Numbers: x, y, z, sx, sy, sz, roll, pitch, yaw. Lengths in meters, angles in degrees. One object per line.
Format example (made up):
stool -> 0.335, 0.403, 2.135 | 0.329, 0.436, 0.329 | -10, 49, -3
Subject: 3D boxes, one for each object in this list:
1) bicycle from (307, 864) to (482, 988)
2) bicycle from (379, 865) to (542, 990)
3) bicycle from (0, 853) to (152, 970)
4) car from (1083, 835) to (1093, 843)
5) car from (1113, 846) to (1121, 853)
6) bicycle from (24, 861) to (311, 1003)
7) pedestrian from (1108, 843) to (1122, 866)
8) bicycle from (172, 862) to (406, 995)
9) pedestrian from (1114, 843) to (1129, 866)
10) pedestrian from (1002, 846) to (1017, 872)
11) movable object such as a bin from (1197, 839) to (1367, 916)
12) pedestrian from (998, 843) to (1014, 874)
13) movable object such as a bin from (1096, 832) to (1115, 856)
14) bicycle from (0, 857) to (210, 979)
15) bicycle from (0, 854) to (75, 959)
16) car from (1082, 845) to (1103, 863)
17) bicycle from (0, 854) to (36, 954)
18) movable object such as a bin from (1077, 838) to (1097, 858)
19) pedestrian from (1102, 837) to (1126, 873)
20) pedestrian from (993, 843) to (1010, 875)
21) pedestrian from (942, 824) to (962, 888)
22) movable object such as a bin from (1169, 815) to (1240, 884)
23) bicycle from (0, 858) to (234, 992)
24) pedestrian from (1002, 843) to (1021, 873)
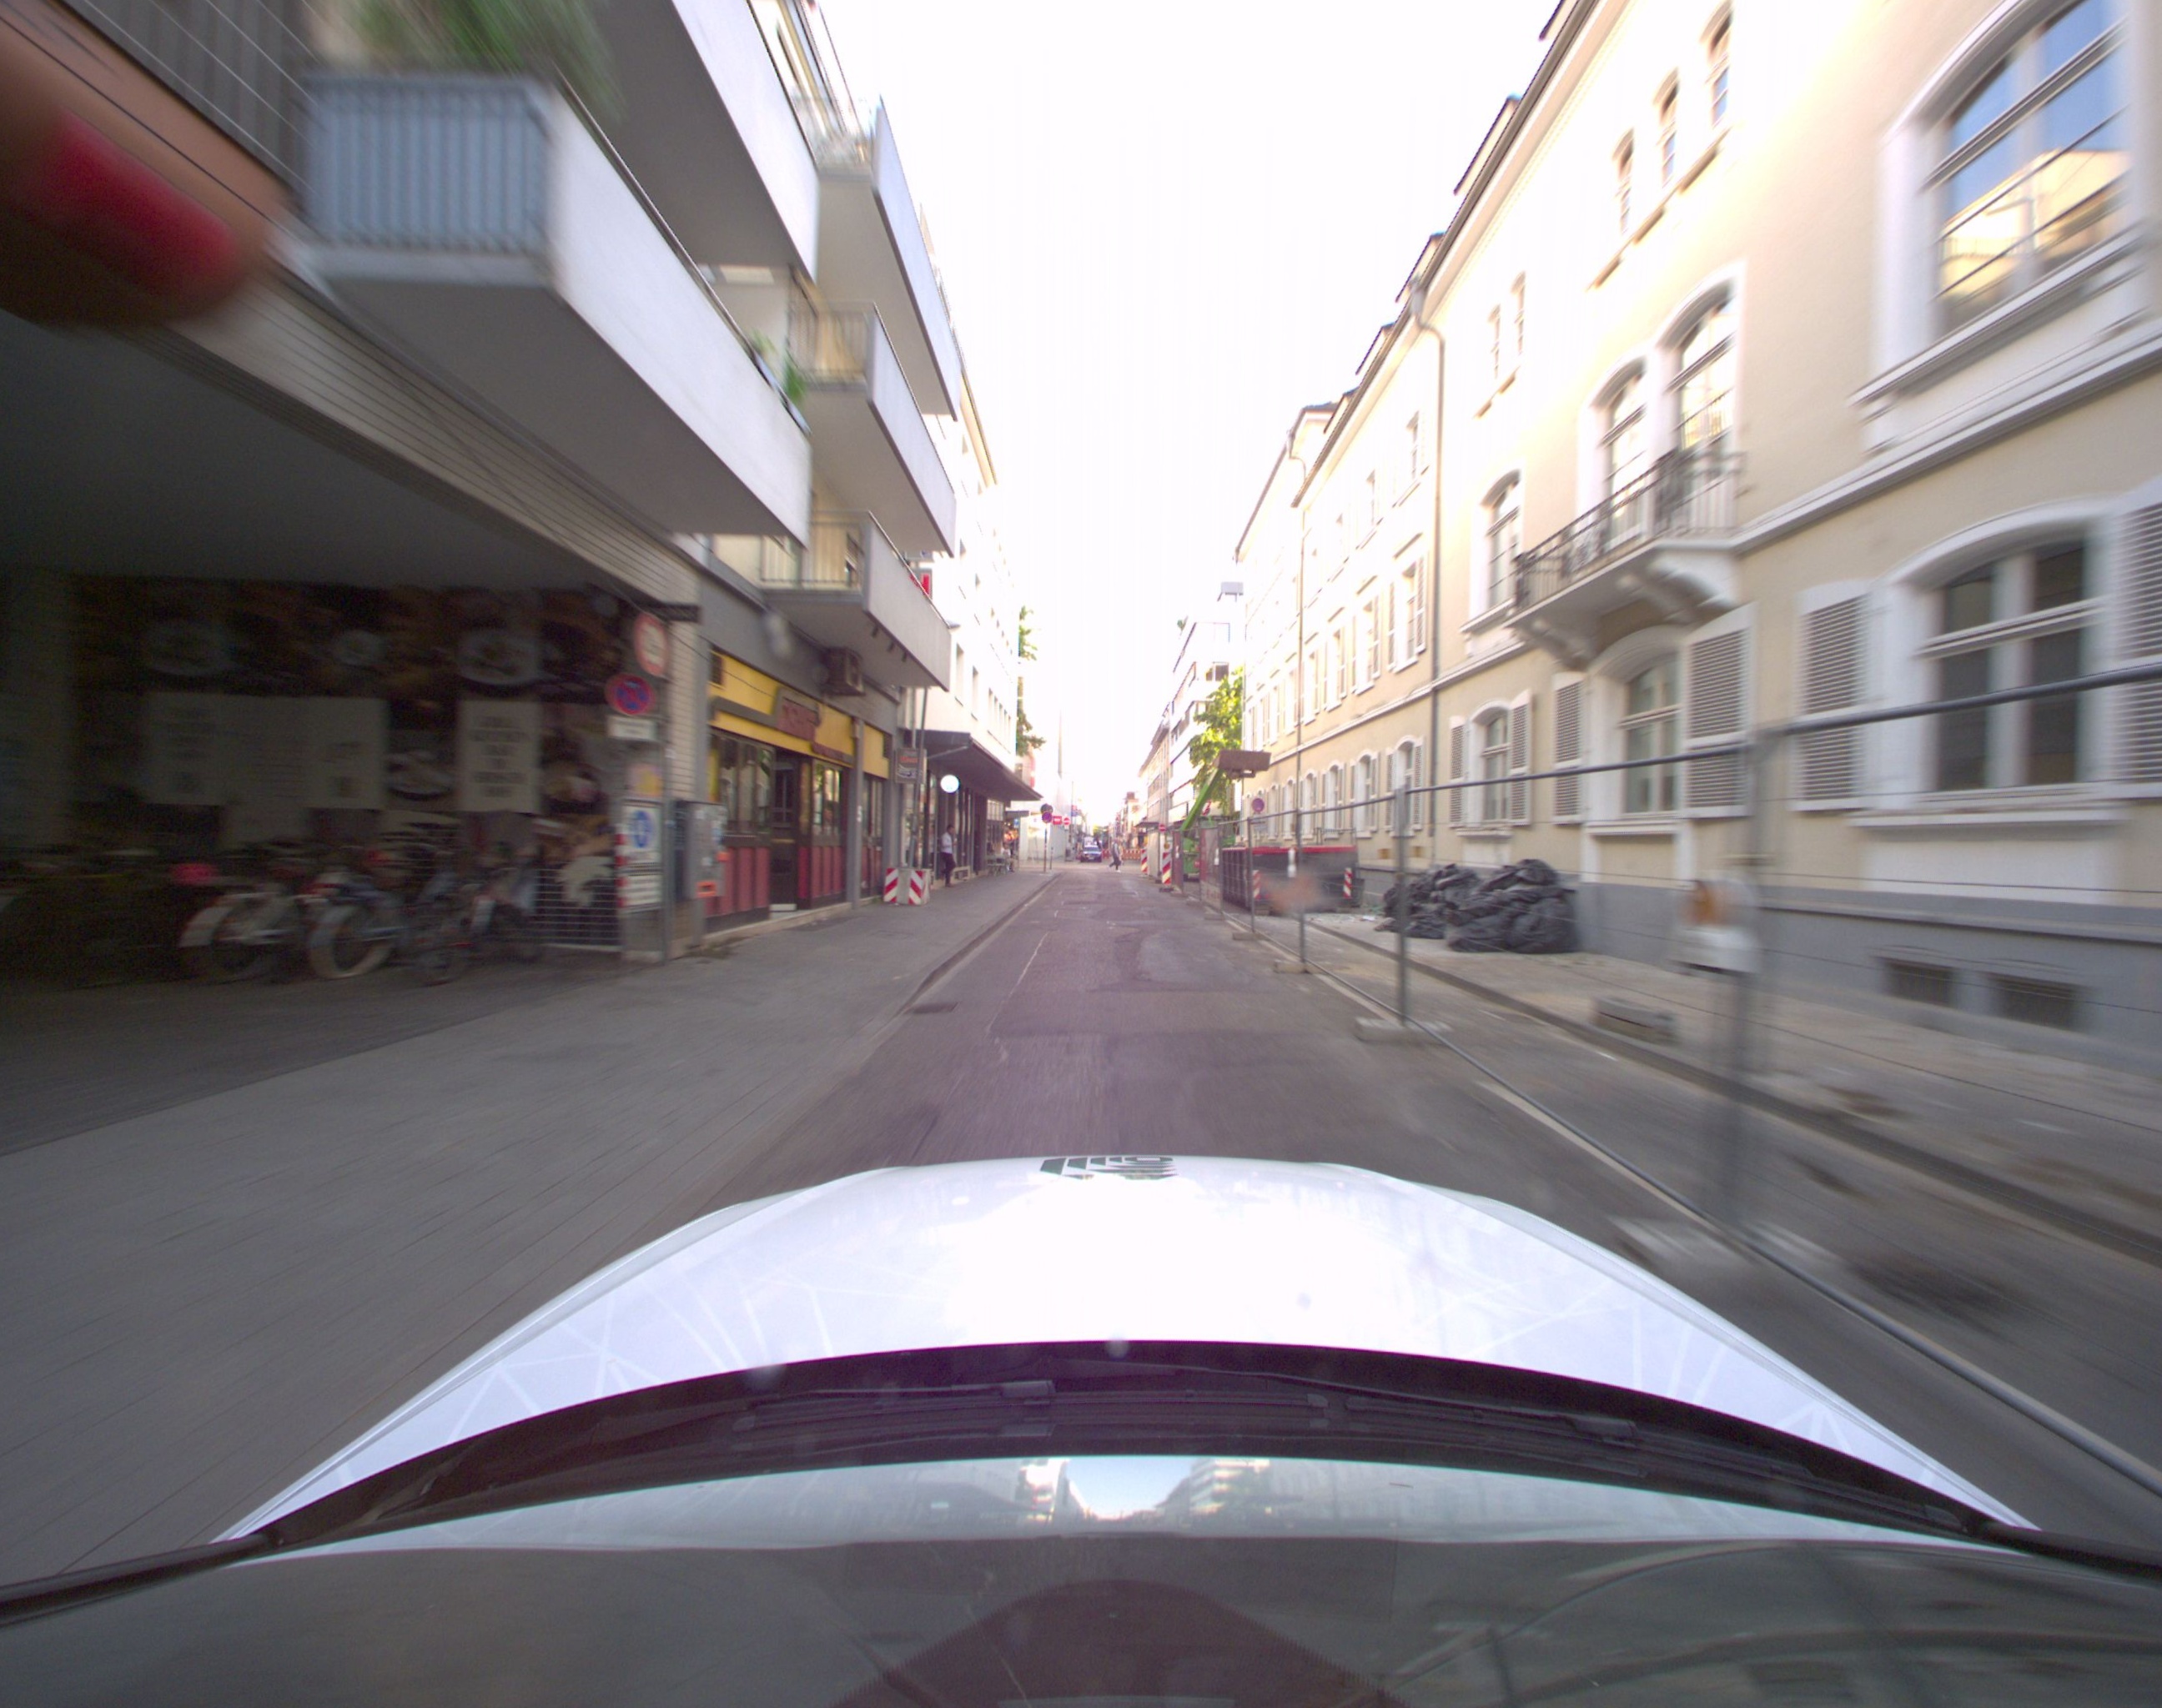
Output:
bicycle -> -6.286, 0.616, 7.554 | 0.376, 0.961, 1.501 | 1, 2, -2
bicycle -> -5.612, 0.618, 7.465 | 0.376, 0.961, 1.501 | 1, 2, -2
bicycle -> -9.539, 0.502, 7.448 | 0.376, 0.961, 1.501 | 1, 2, -2
car -> 1.347, -3.026, 164.963 | 1.986, 1.776, 4.001 | 0, 1, 1
car -> 9.234, -1.140, 208.927 | 1.986, 1.776, 4.001 | 0, 1, 1
bicycle -> -7.572, 0.582, 6.894 | 0.376, 0.961, 1.797 | 1, 2, 1
pedestrian -> 2.416, 0.060, 57.827 | 0.615, 1.627, 0.863 | 0, 0, -40
bicycle -> -6.953, 0.594, 7.283 | 0.376, 0.961, 1.795 | 1, 2, -2
pedestrian -> 2.912, 0.055, 58.257 | 0.615, 1.627, 0.863 | 0, 0, -40
pedestrian -> -3.226, 0.218, 36.858 | 0.571, 1.113, 0.714 | 3, 1, 1
movable object such as a bin -> 5.027, 0.482, 21.976 | 2.727, 1.638, 7.552 | 2, 1, 0
pedestrian -> -3.214, 0.190, 34.936 | 0.571, 1.275, 0.714 | 3, 1, 1
movable object such as a bin -> 2.878, -1.150, 95.340 | 2.149, 2.663, 4.573 | 1, 0, 1
bicycle -> -9.079, 0.540, 7.571 | 0.376, 0.961, 1.501 | 1, 2, -2
bicycle -> -10.348, 0.515, 7.333 | 0.376, 0.961, 1.795 | 1, 2, -2
car -> 0.944, -0.012, 69.978 | 1.625, 1.550, 3.140 | 0, 1, -2
bicycle -> -10.737, 0.514, 7.332 | 0.376, 0.961, 1.795 | 1, 2, -2
movable object such as a bin -> 0.618, -0.668, 85.139 | 1.986, 2.013, 4.002 | 0, 1, 2
pedestrian -> 1.703, 0.050, 42.666 | 1.075, 1.835, 0.693 | 0, 0, -20
pedestrian -> -3.305, 0.198, 33.897 | 0.571, 1.275, 0.714 | 3, 1, 1
pedestrian -> -3.727, 0.060, 23.544 | 0.529, 1.834, 0.562 | 1, 1, -5
movable object such as a bin -> 5.381, -0.216, 36.047 | 2.595, 2.839, 4.451 | 0, 1, 1
bicycle -> -8.548, 0.556, 7.133 | 0.376, 0.961, 1.796 | 1, 2, 0
pedestrian -> -3.051, 0.165, 35.940 | 0.699, 1.275, 0.714 | 3, 1, 1
